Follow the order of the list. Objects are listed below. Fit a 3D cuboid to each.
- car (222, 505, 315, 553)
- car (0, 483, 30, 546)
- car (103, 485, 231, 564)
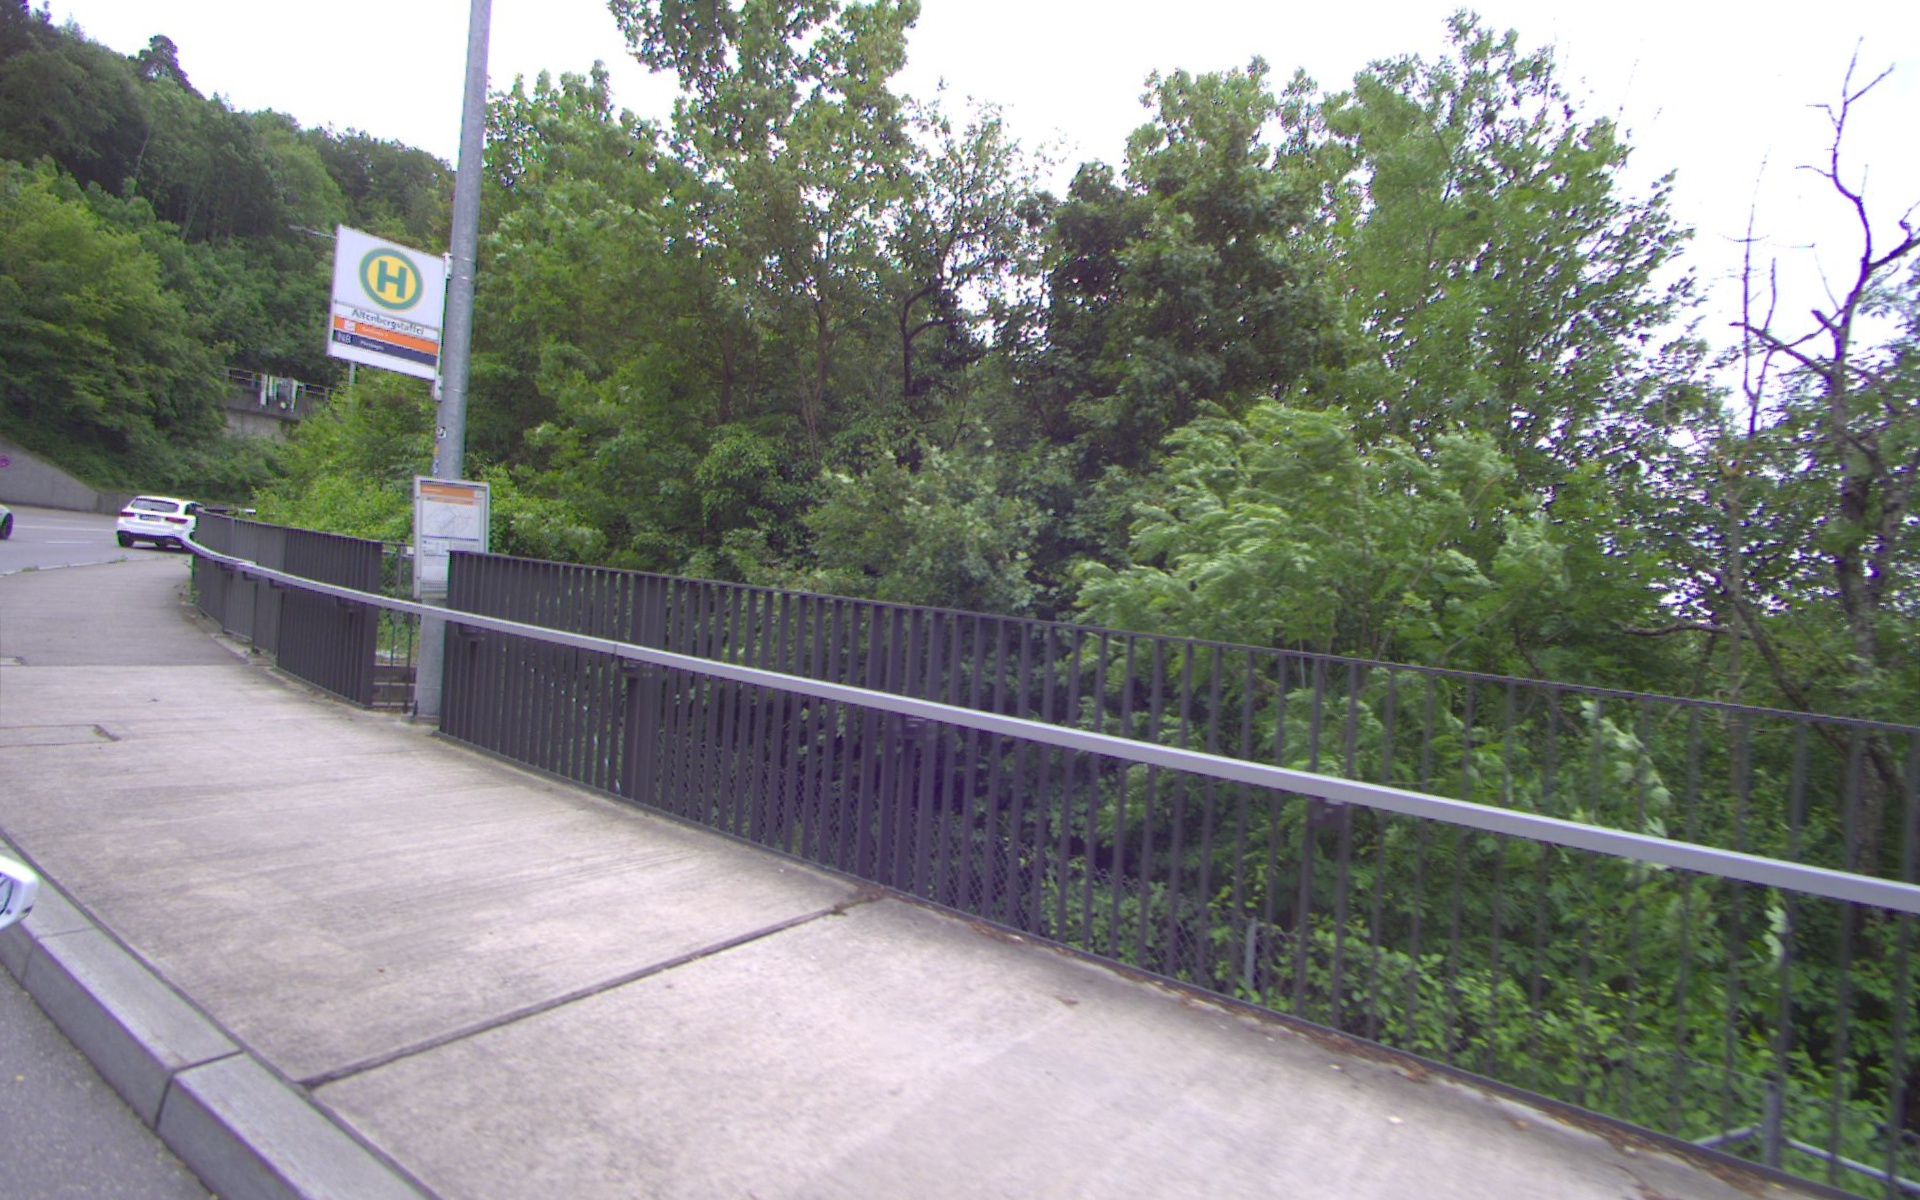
[{"bbox_3d":[-32.553,-3.298,47.507,1.717,1.535,4.308,8,-3,-8],"label":"car"},{"bbox_3d":[-25.021,-2.327,24.519,1.978,1.574,4.652,11,-3,-26],"label":"car"},{"bbox_3d":[-25.218,-2.322,32.163,1.975,1.863,4.131,9,-3,-23],"label":"car"}]
